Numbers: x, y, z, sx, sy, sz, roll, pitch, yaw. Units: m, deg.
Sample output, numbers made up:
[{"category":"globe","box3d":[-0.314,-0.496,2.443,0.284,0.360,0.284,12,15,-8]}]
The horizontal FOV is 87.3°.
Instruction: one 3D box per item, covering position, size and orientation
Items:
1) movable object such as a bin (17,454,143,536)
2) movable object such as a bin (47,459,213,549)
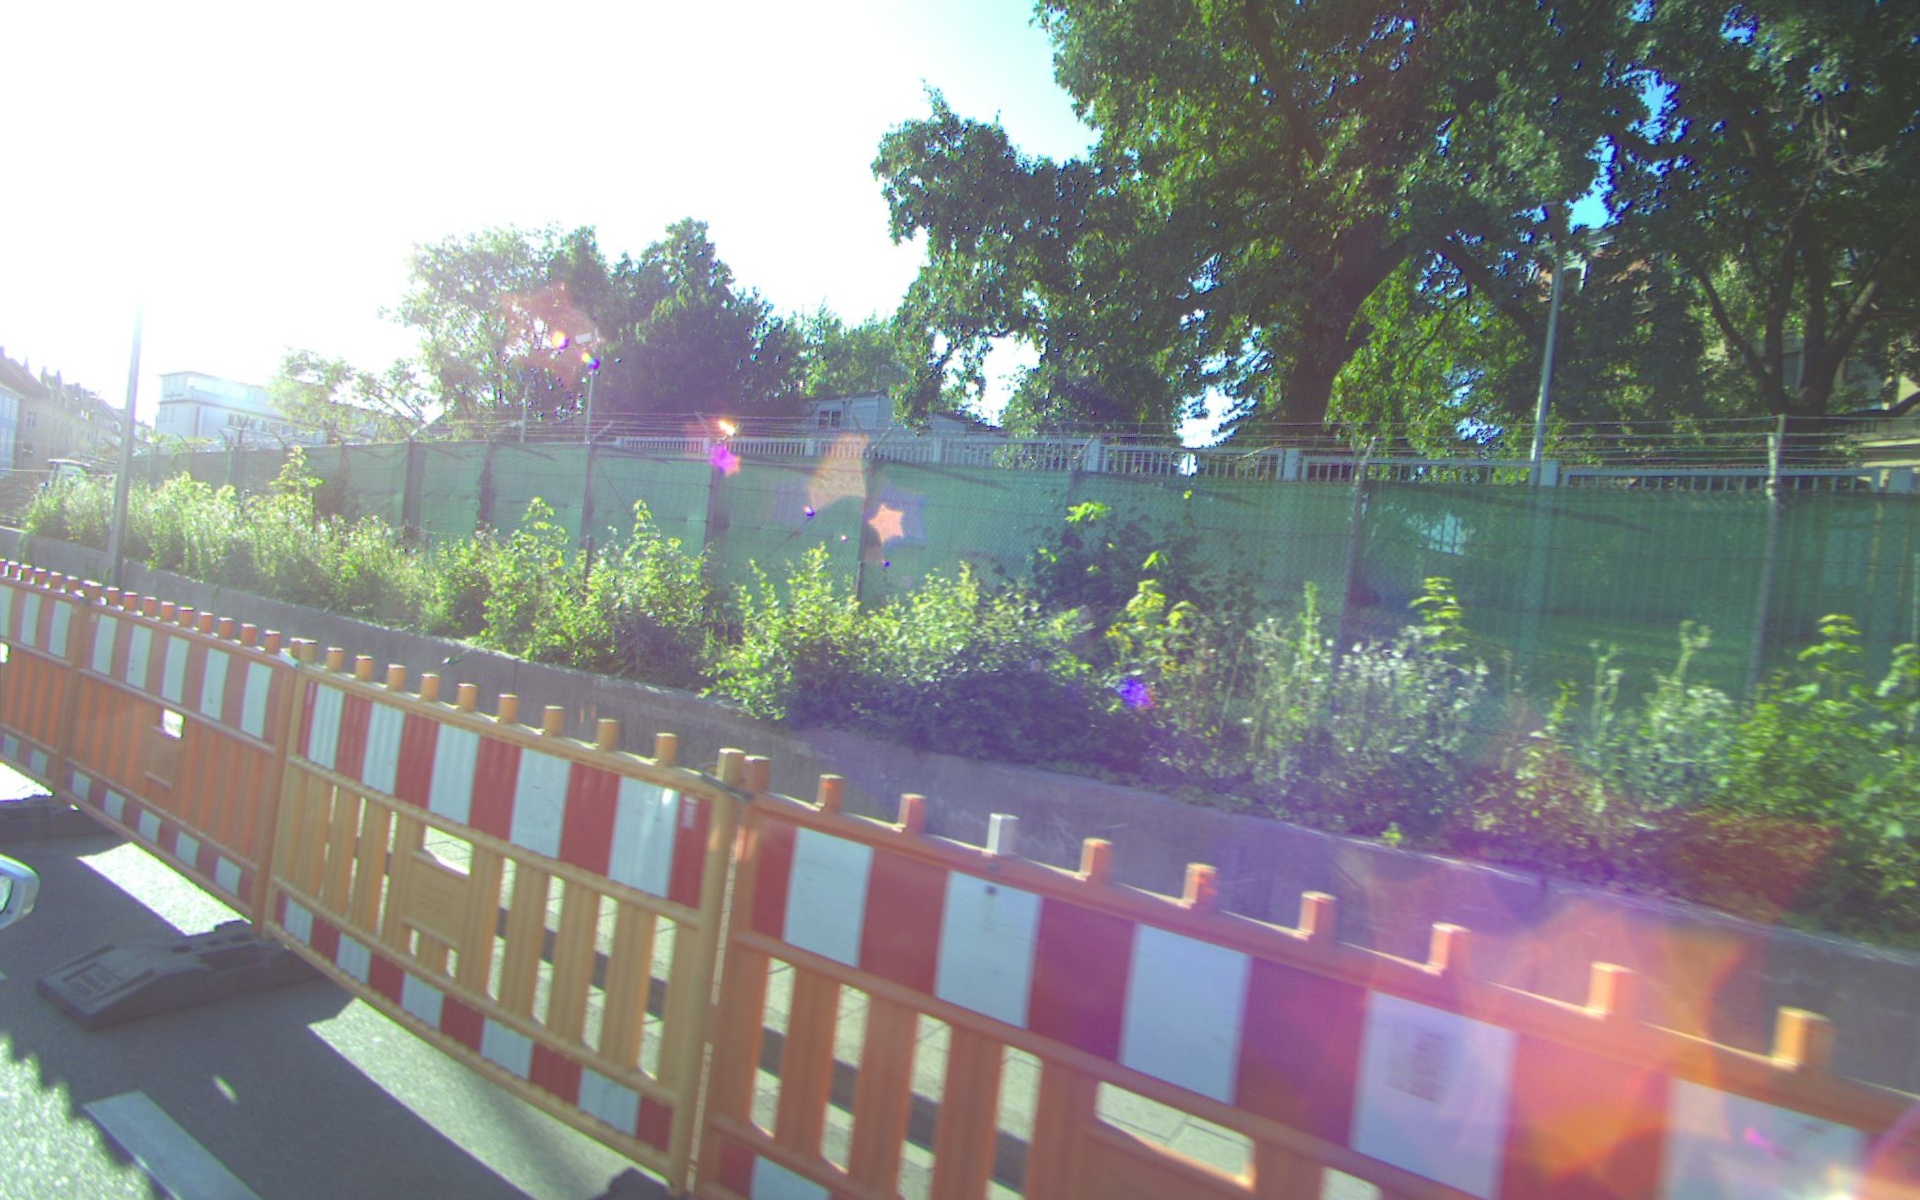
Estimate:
[{"category":"movable object such as a bin","box3d":[-35.669,-4.258,40.750,4.859,2.737,2.279,7,0,31]},{"category":"movable object such as a bin","box3d":[-42.455,-4.836,51.755,6.022,3.601,2.836,7,0,-34]}]
